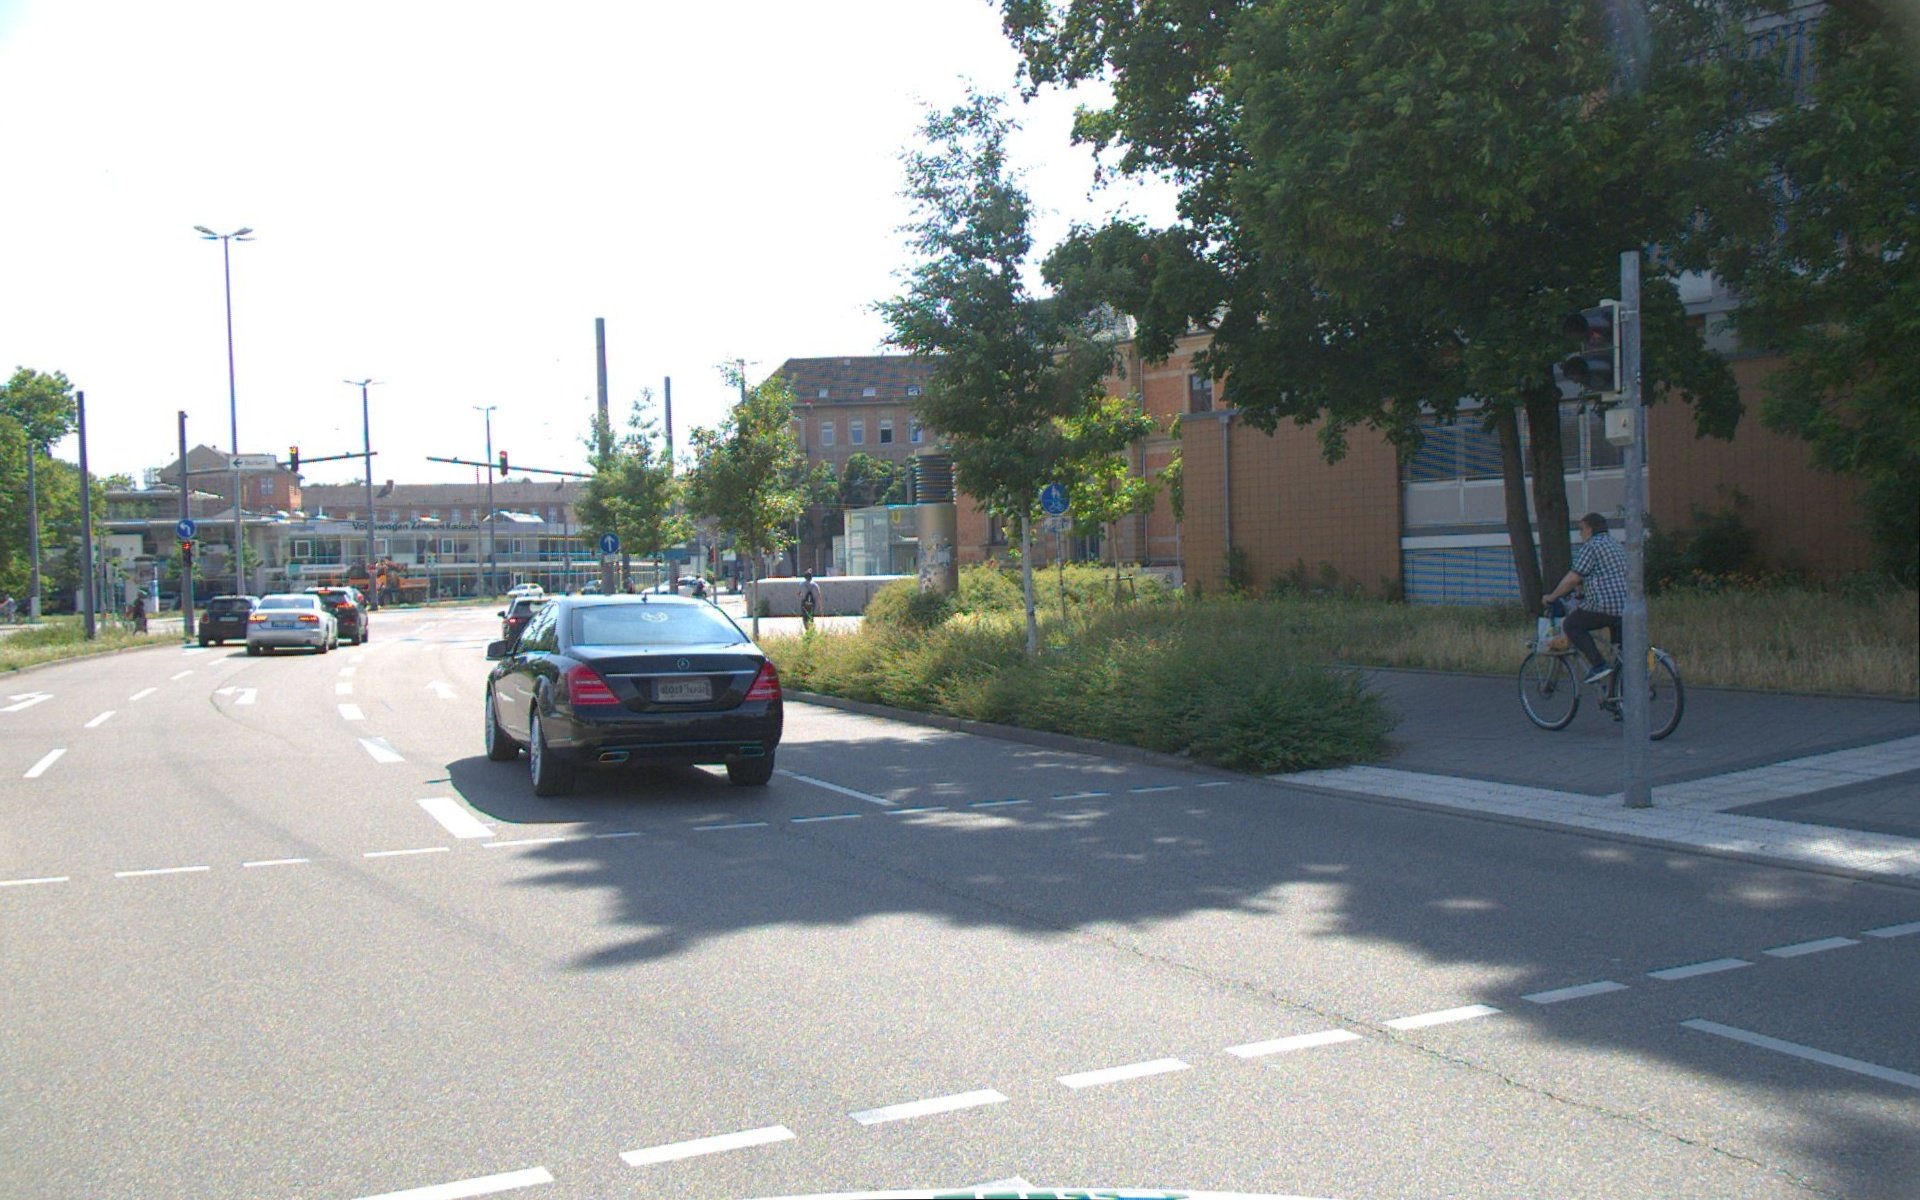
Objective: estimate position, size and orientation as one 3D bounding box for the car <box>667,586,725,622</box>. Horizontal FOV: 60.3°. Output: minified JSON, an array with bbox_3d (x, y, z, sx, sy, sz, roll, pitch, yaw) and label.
[{"bbox_3d":[-12.140,0.155,76.248,1.757,1.536,4.278,-2,1,2],"label":"car"}]

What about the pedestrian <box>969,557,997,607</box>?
[{"bbox_3d":[0.780,-0.611,56.171,0.643,1.690,0.642,-2,1,-36],"label":"pedestrian"}]

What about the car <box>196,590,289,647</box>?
[{"bbox_3d":[-21.112,0.509,48.813,1.763,1.536,3.986,-2,1,-13],"label":"car"}]

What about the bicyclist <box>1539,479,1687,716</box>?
[{"bbox_3d":[5.478,-0.027,13.899,0.678,1.911,0.851,-2,0,-29],"label":"bicyclist"}]

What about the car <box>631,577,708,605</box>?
[{"bbox_3d":[-17.302,-0.562,98.754,4.242,1.536,1.772,-3,1,-43],"label":"car"}]

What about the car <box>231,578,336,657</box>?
[{"bbox_3d":[-17.222,0.401,42.261,1.961,1.847,3.983,-2,1,-16],"label":"car"}]

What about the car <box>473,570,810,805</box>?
[{"bbox_3d":[-2.859,0.633,13.907,1.834,1.556,4.680,-2,0,-23],"label":"car"}]

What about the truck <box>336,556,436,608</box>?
[{"bbox_3d":[-44.069,-1.457,127.271,2.999,3.795,7.935,-1,1,17],"label":"truck"}]

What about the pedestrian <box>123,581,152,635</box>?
[{"bbox_3d":[-26.320,0.251,52.942,0.636,1.690,0.662,-2,0,-10],"label":"pedestrian"}]

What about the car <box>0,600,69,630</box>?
[{"bbox_3d":[-52.189,0.850,92.506,3.951,1.536,1.779,-2,1,-34],"label":"car"}]

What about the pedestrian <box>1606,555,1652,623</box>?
[{"bbox_3d":[9.234,-0.152,22.825,0.389,0.907,0.424,-2,1,-35],"label":"pedestrian"}]

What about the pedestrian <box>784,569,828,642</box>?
[{"bbox_3d":[-3.774,0.124,40.542,0.858,1.755,0.795,-2,1,-21],"label":"pedestrian"}]

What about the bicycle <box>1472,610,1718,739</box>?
[{"bbox_3d":[5.373,0.602,14.124,0.685,0.962,1.939,-5,2,-29],"label":"bicycle"}]

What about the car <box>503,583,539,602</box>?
[{"bbox_3d":[-38.658,-0.668,145.785,1.756,1.536,4.003,-1,1,6],"label":"car"}]

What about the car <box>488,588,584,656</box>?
[{"bbox_3d":[-10.321,0.509,40.077,1.769,1.536,3.974,-1,0,-21],"label":"car"}]

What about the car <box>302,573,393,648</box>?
[{"bbox_3d":[-18.022,0.273,48.823,1.959,2.048,3.987,-2,1,-13],"label":"car"}]
